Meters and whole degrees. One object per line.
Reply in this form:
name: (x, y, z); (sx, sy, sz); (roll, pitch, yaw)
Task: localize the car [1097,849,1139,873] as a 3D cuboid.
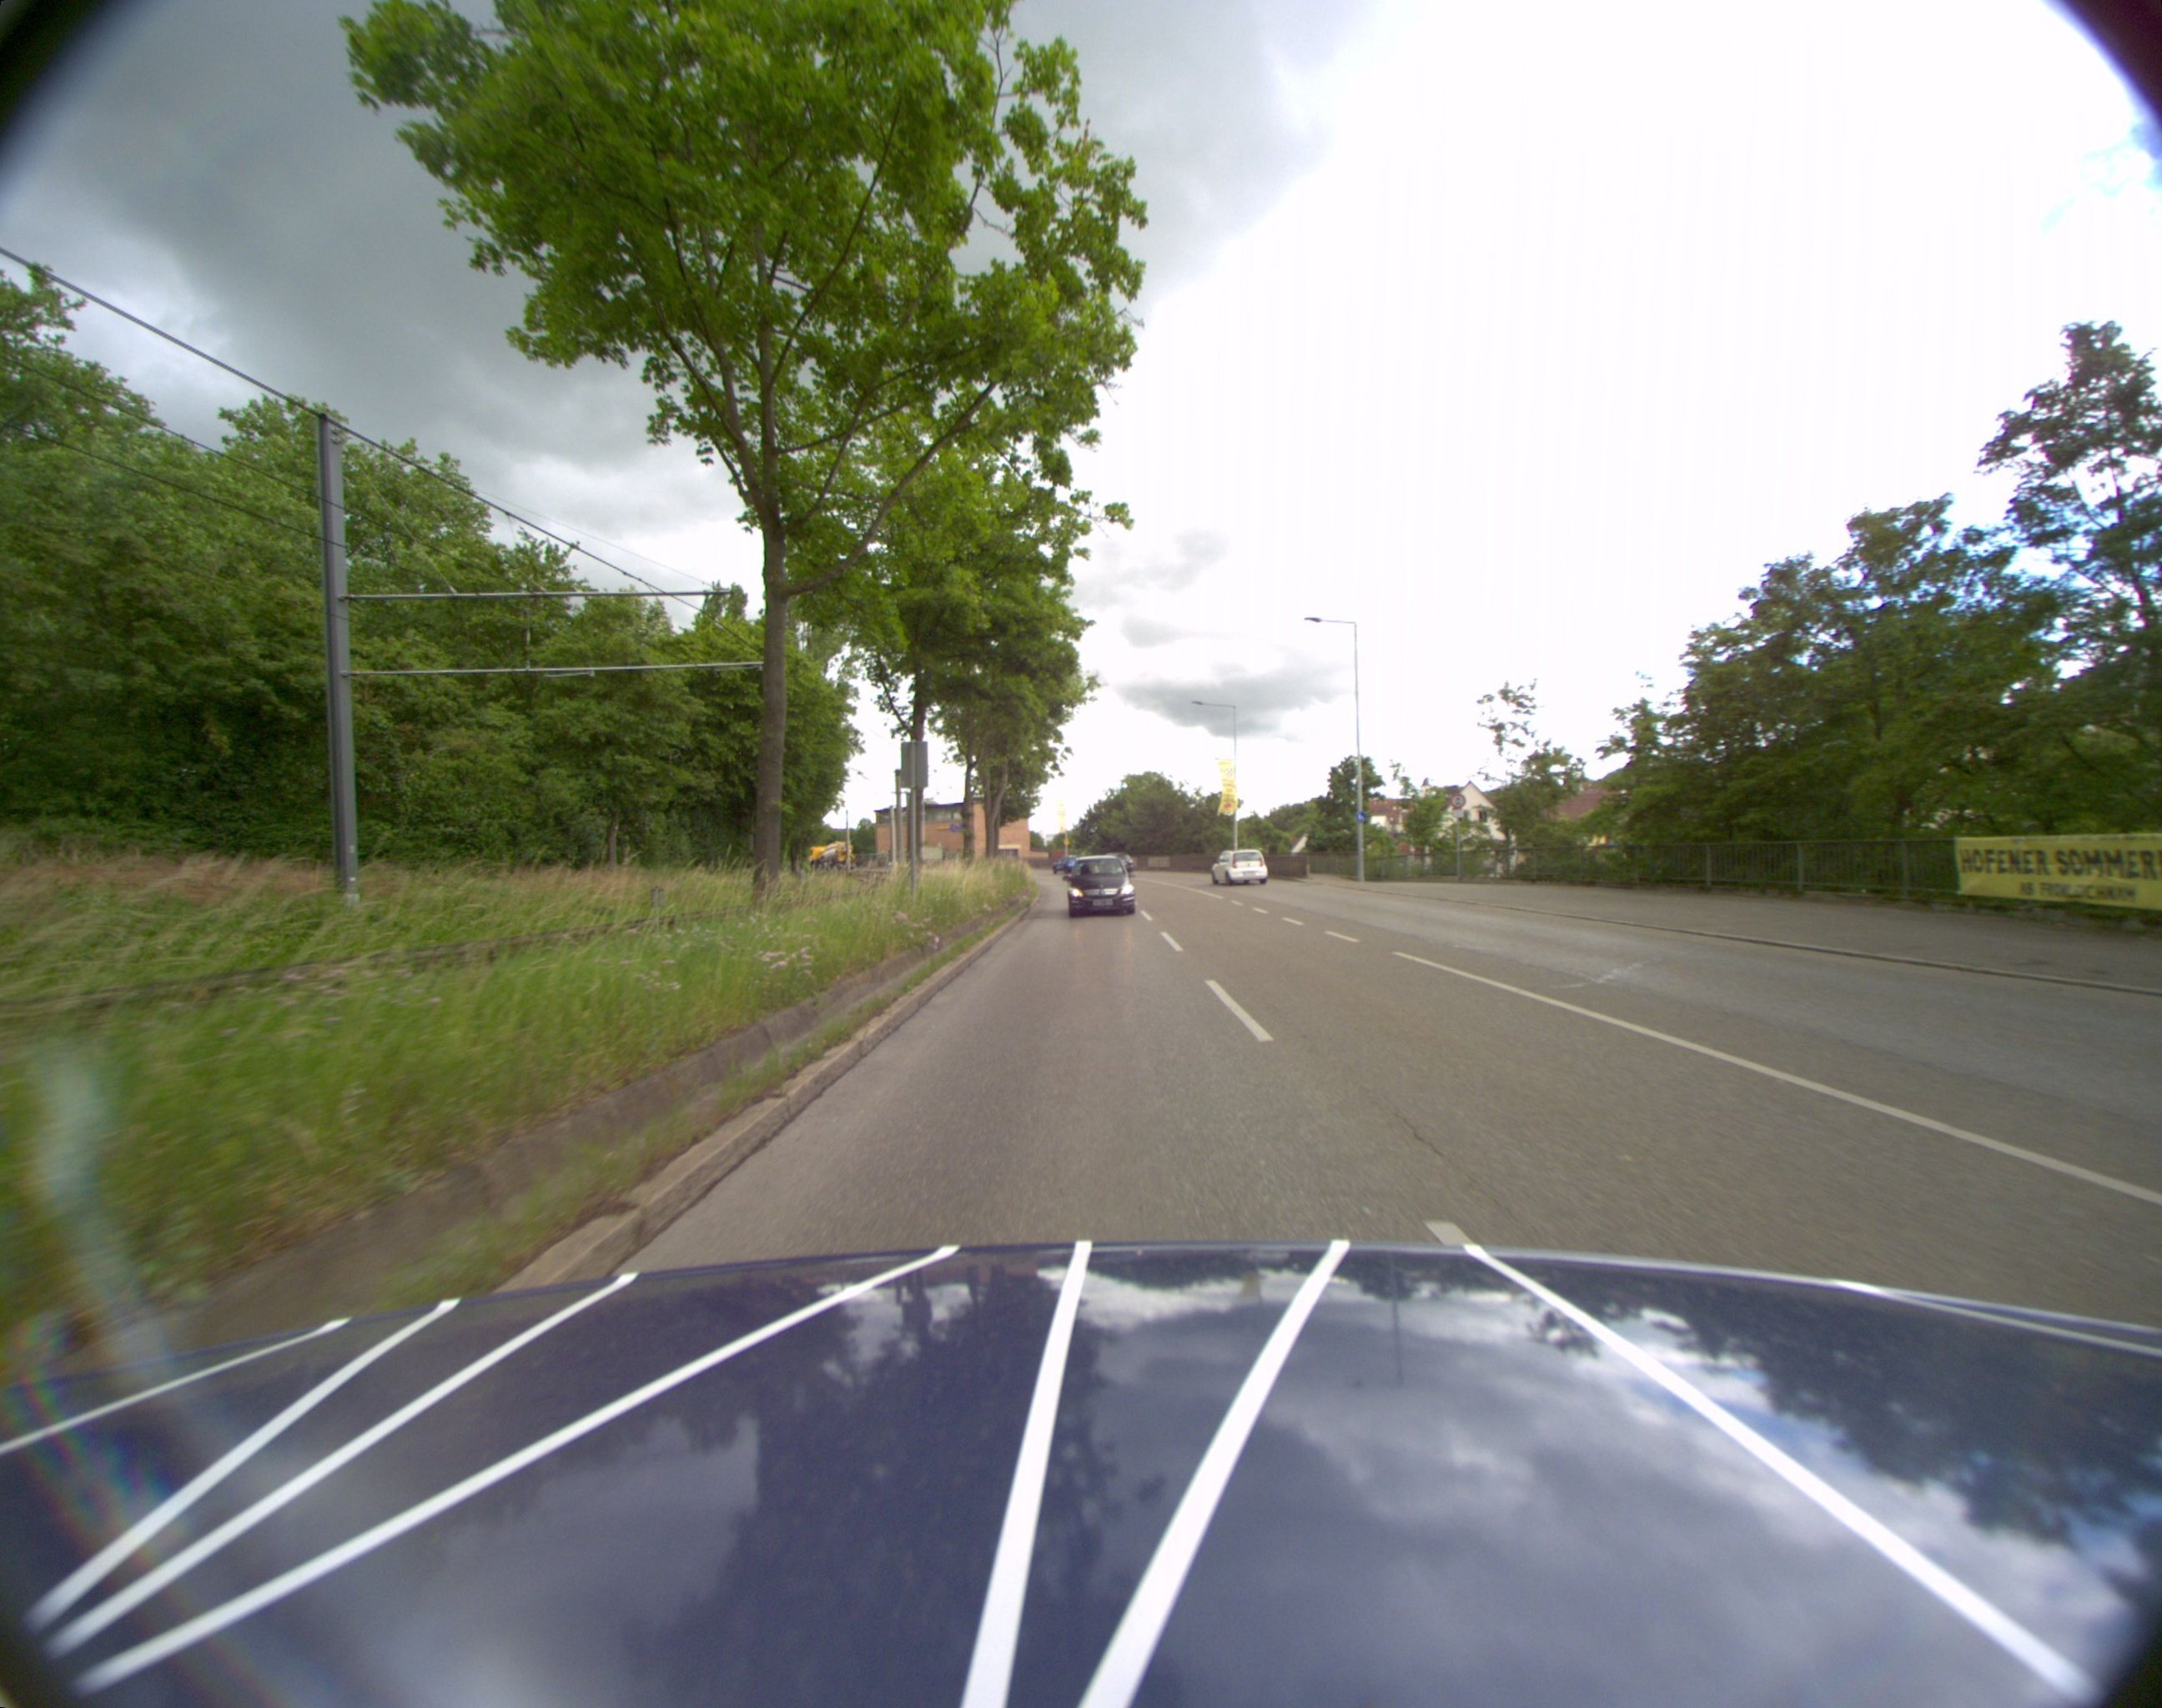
car: (2.632, 0.531, 54.905); (1.726, 1.598, 4.008); (-3, 0, -16)

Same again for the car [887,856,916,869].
car: (-22.230, 1.029, 93.815); (1.756, 1.478, 3.645); (-4, 1, -44)

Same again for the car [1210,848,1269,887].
car: (6.750, 0.538, 32.713); (1.585, 1.457, 3.695); (-4, 0, -2)

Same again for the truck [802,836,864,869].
truck: (-34.300, -0.177, 104.926); (10.111, 3.916, 2.682); (-3, 2, 39)

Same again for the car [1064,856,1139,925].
car: (0.457, 0.892, 20.659); (1.751, 1.556, 4.074); (-3, 1, -2)

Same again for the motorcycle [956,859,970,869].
motorcycle: (-12.915, 1.074, 83.267); (0.686, 1.055, 1.715); (-2, 1, -41)

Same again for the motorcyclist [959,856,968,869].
motorcyclist: (-12.885, 0.939, 83.239); (0.622, 1.348, 0.838); (-2, 1, -40)

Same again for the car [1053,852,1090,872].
car: (-0.834, 0.687, 64.235); (1.587, 1.477, 3.689); (-4, 0, -26)
